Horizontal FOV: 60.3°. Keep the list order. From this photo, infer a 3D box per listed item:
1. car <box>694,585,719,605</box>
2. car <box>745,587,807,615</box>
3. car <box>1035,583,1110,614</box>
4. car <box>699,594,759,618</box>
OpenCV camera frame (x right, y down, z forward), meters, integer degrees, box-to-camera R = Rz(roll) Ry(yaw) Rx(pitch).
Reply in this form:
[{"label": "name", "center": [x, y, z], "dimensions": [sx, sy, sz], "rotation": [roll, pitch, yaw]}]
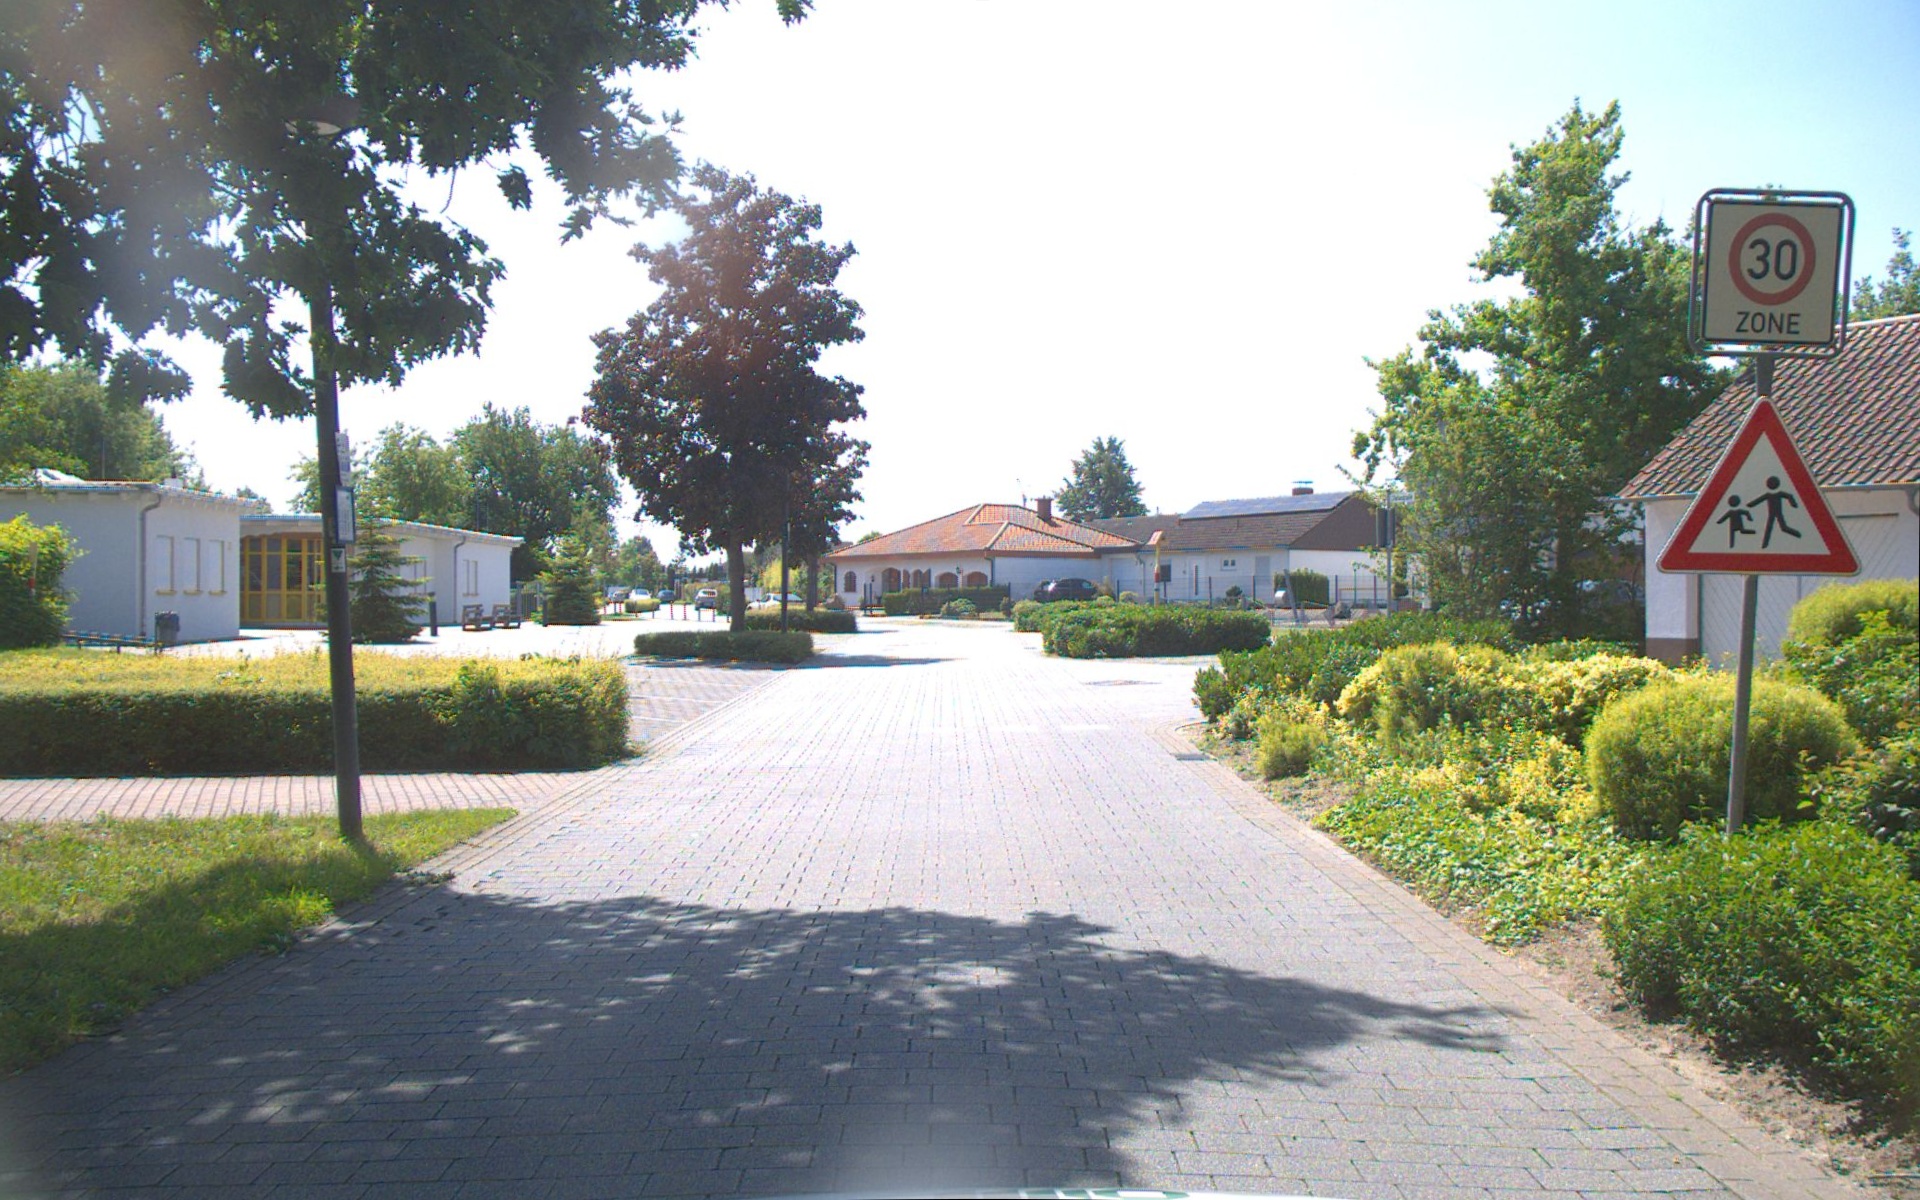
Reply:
[{"label": "car", "center": [-17.366, -0.347, 113.090], "dimensions": [1.585, 1.311, 3.548], "rotation": [0, 0, -10]}, {"label": "car", "center": [-8.658, 0.047, 77.766], "dimensions": [1.598, 1.311, 3.519], "rotation": [0, 0, -31]}, {"label": "car", "center": [5.857, -0.090, 85.889], "dimensions": [3.808, 1.569, 1.824], "rotation": [0, 0, -45]}, {"label": "car", "center": [-12.907, 0.314, 92.348], "dimensions": [1.973, 1.310, 3.958], "rotation": [0, 0, -31]}]
